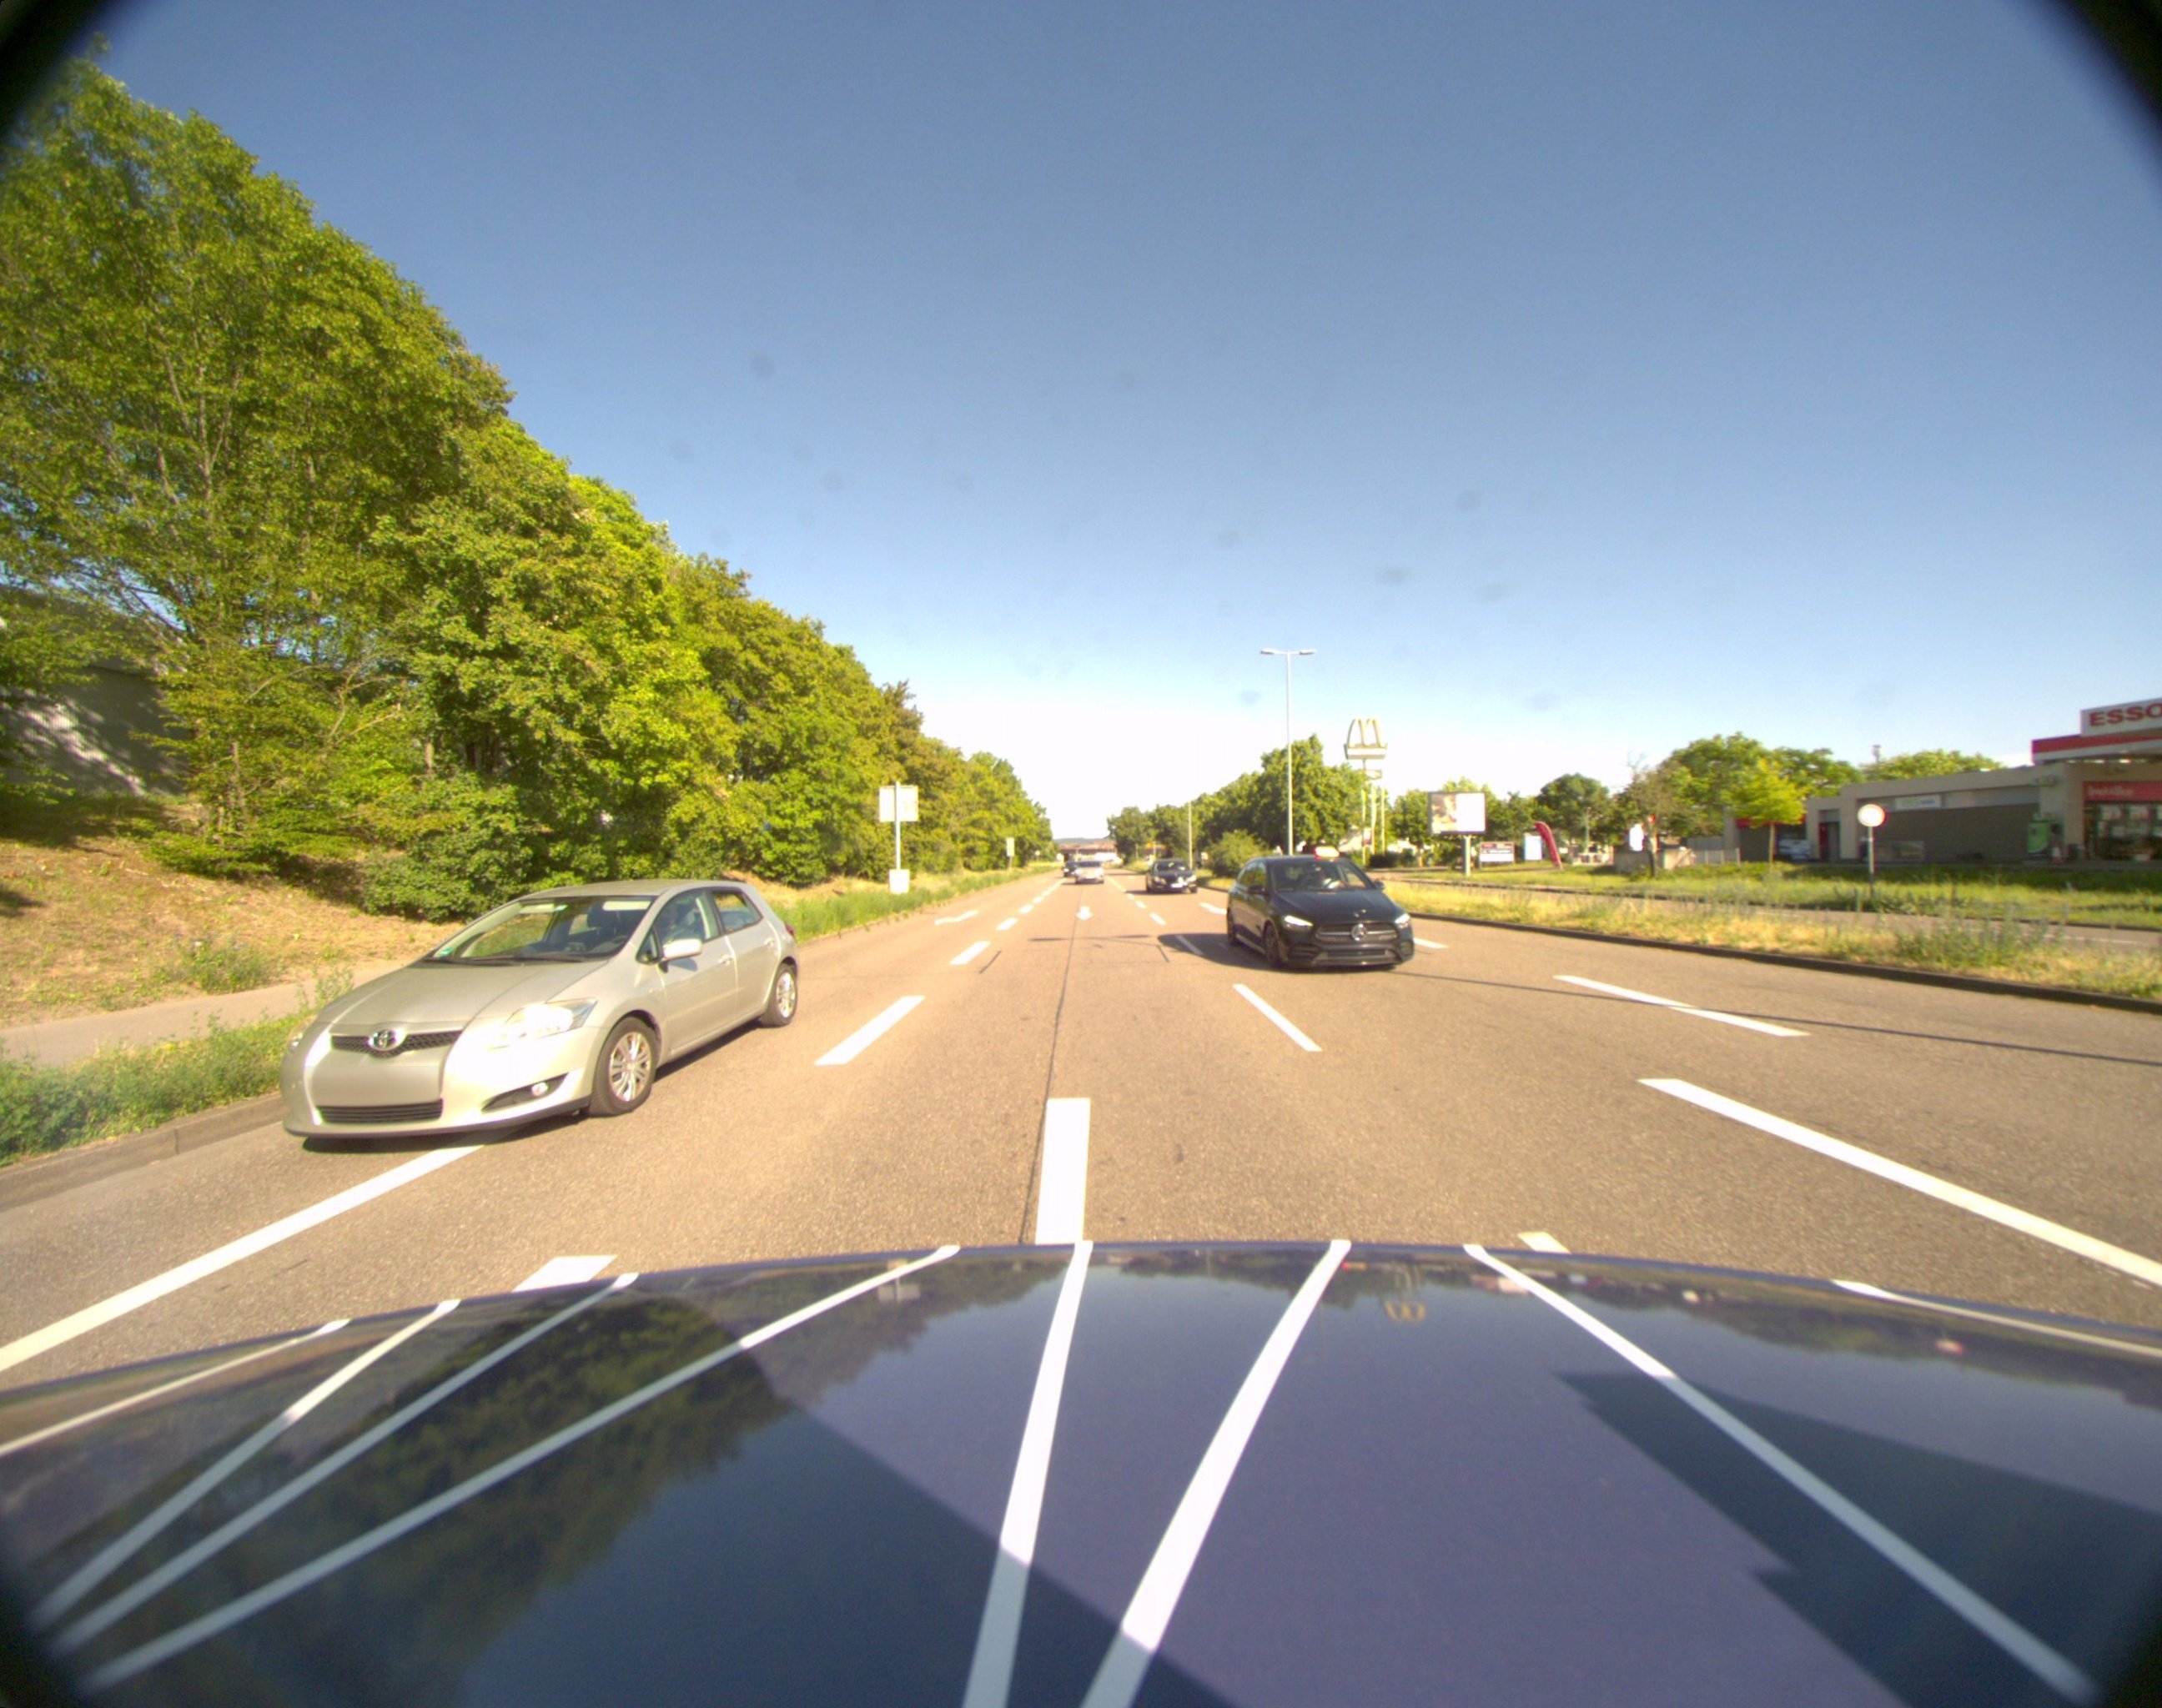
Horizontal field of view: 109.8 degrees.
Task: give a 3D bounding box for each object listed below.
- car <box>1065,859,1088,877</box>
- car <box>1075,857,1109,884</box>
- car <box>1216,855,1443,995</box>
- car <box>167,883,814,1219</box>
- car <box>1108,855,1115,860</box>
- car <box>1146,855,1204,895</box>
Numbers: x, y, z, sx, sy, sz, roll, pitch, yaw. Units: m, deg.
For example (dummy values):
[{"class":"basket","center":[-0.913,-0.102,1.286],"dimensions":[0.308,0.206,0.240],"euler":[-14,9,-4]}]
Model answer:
[{"class":"car","center":[-0.364,1.275,71.178],"dimensions":[2.036,1.601,4.098],"euler":[-2,0,1]},{"class":"car","center":[0.691,1.004,48.791],"dimensions":[2.025,1.601,4.098],"euler":[-2,0,1]},{"class":"car","center":[3.321,0.836,11.192],"dimensions":[1.788,1.592,4.583],"euler":[-2,0,0]},{"class":"car","center":[-3.773,1.098,5.979],"dimensions":[1.788,1.528,4.108],"euler":[-2,0,1]},{"class":"car","center":[8.525,1.027,212.676],"dimensions":[1.998,1.433,4.000],"euler":[-1,0,1]},{"class":"car","center":[3.977,0.860,32.929],"dimensions":[1.953,1.501,4.462],"euler":[-2,1,1]}]
